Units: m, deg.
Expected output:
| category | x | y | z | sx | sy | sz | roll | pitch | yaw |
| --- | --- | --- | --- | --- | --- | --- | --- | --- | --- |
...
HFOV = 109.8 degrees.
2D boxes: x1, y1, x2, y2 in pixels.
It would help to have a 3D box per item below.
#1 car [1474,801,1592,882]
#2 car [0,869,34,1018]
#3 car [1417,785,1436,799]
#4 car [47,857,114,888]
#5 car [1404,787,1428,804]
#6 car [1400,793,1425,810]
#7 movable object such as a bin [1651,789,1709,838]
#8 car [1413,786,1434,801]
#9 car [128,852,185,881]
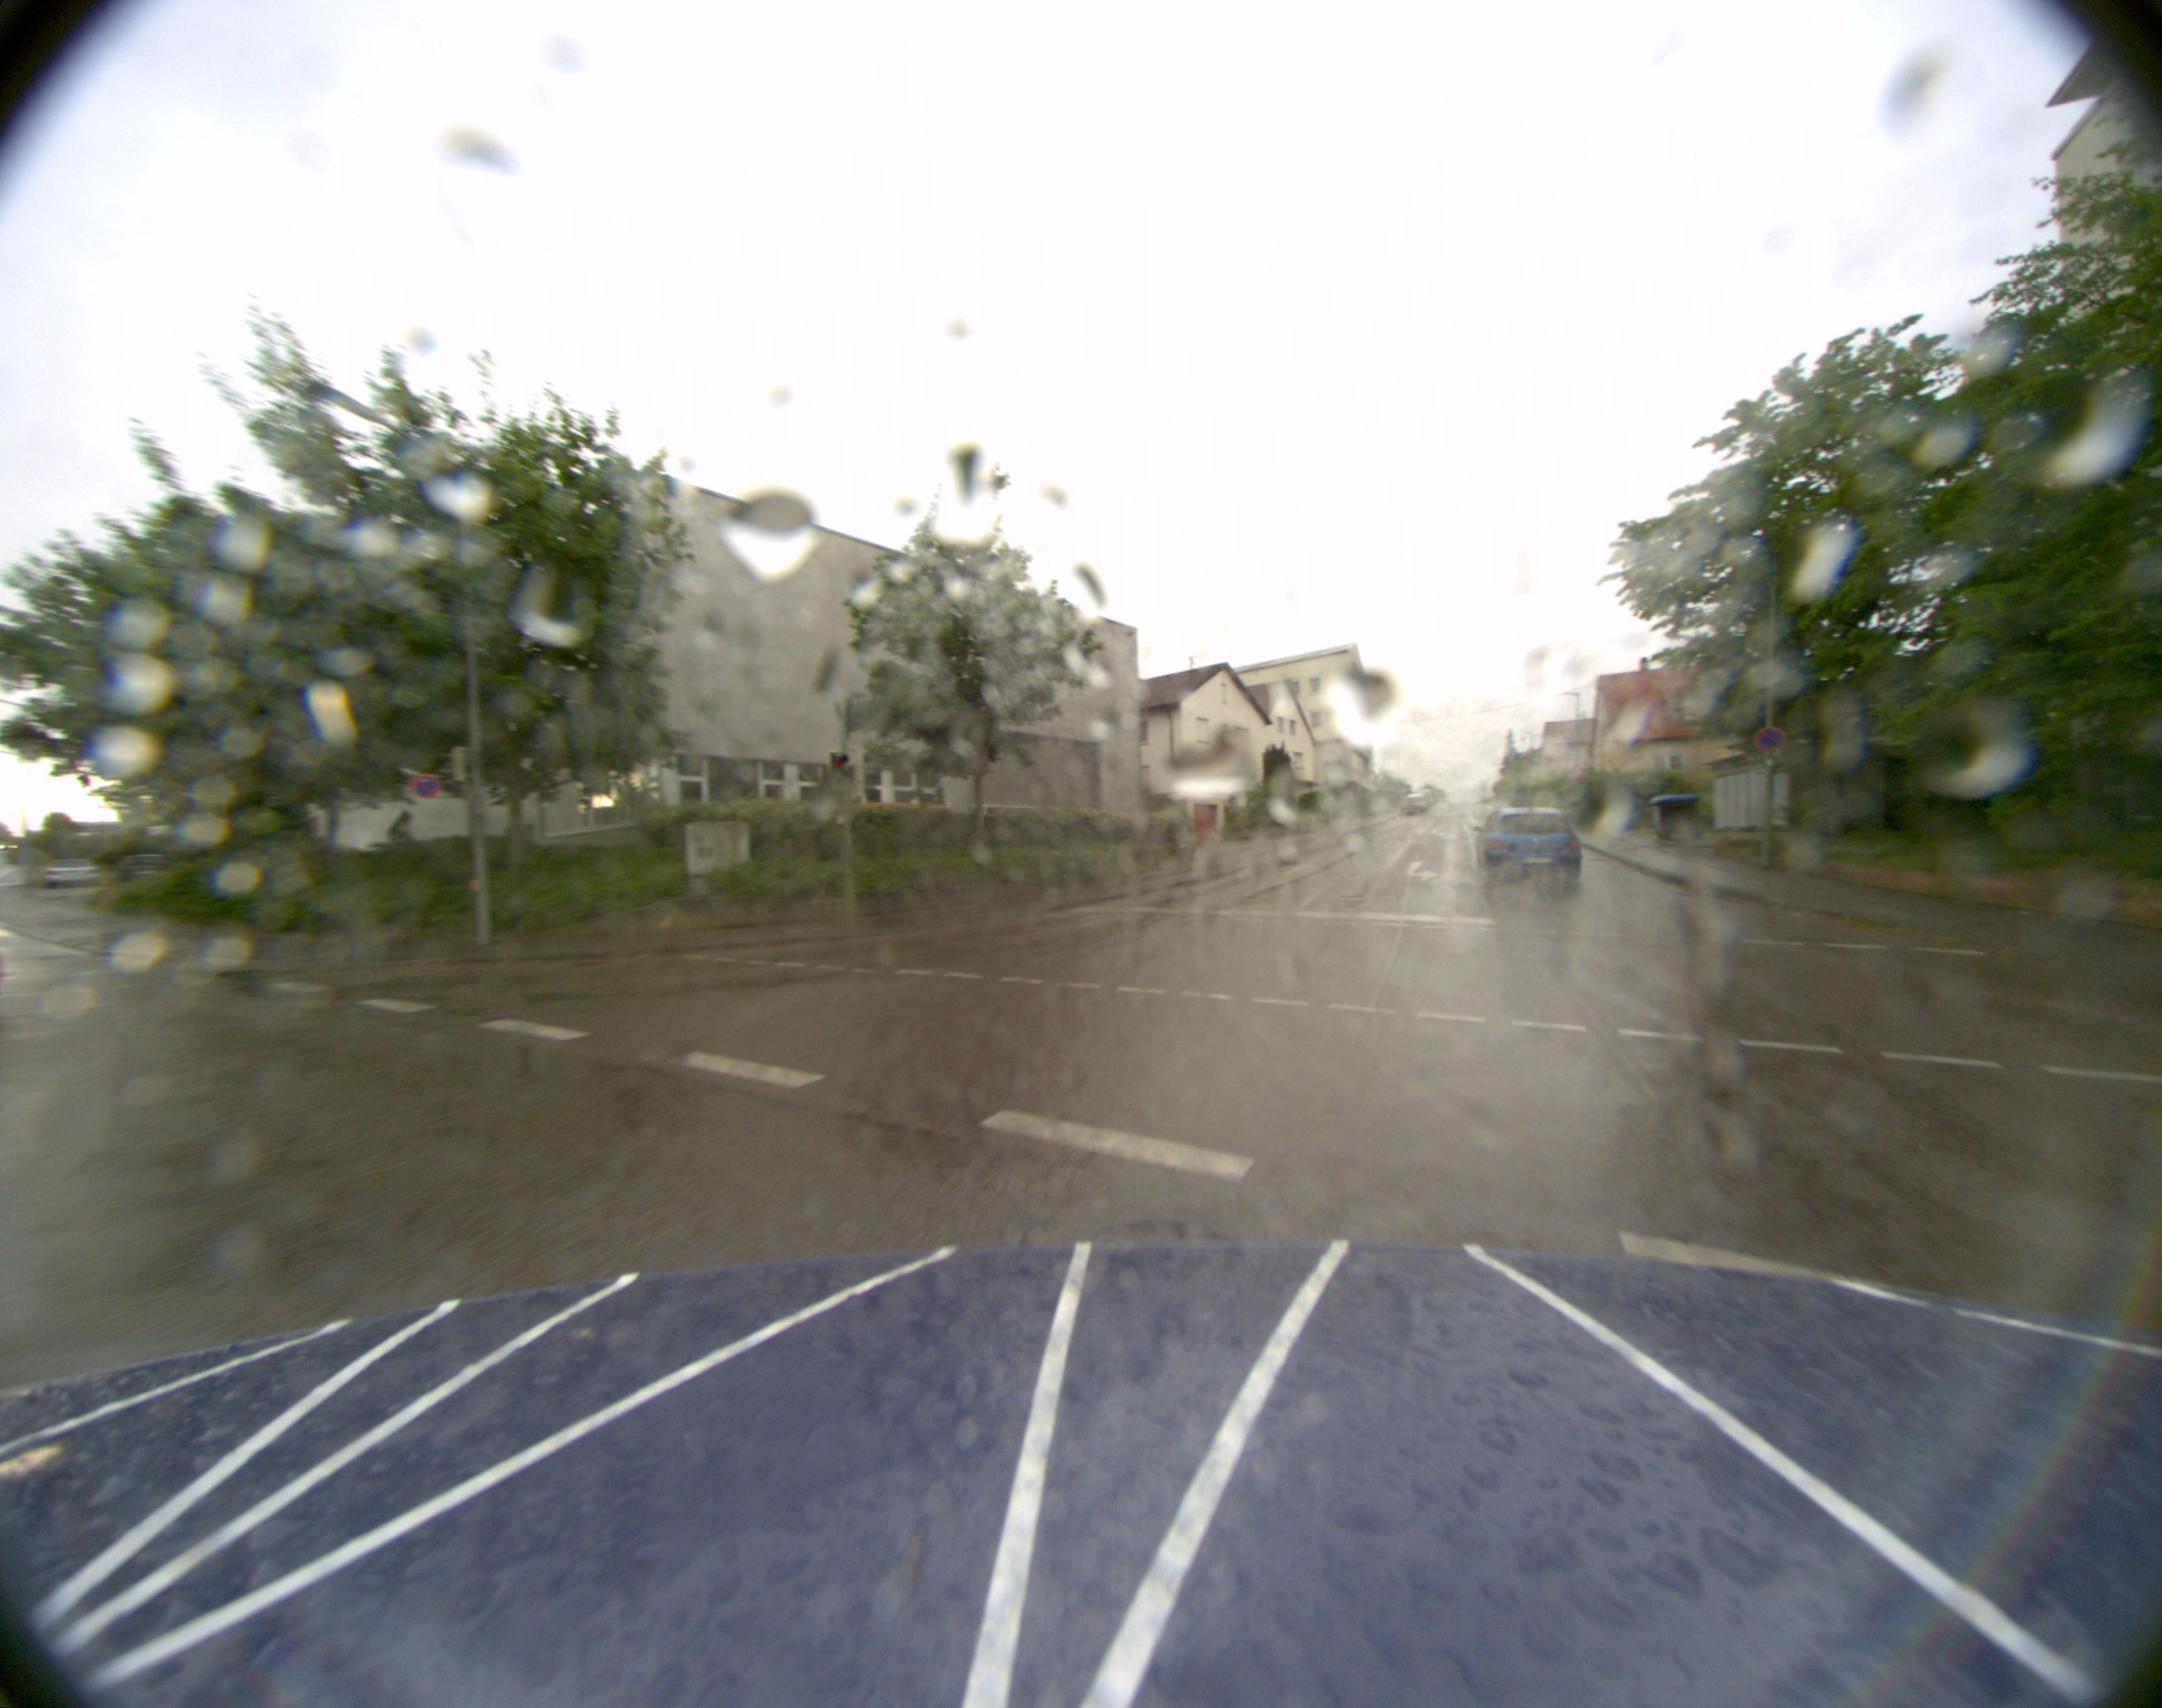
| category | x | y | z | sx | sy | sz | roll | pitch | yaw |
| --- | --- | --- | --- | --- | --- | --- | --- | --- | --- |
| car | 9.775 | -0.349 | 16.714 | 1.768 | 1.438 | 4.003 | -1 | 5 | 24 |
| car | -13.299 | 1.037 | 7.278 | 3.904 | 1.546 | 1.693 | -2 | 3 | -2 |
| car | 42.826 | -7.676 | 94.063 | 1.845 | 1.515 | 4.005 | -1 | 4 | 28 |
| car | -52.455 | 0.918 | 39.916 | 4.009 | 1.470 | 1.741 | 0 | 3 | 42 |
| car | 33.881 | -5.912 | 76.776 | 1.845 | 1.515 | 4.005 | -1 | 4 | 28 |
| car | 31.461 | -4.985 | 72.067 | 1.845 | 1.515 | 4.005 | -1 | 4 | 28 |
| movable object such as a bin | 17.709 | -1.203 | 22.502 | 1.055 | 1.289 | 1.203 | -6 | 1 | 27 |
| car | 37.490 | -6.592 | 83.198 | 1.845 | 1.515 | 4.005 | -1 | 4 | 28 |
| car | -51.075 | 0.647 | 42.039 | 4.009 | 1.470 | 1.741 | 0 | 3 | 42 |
